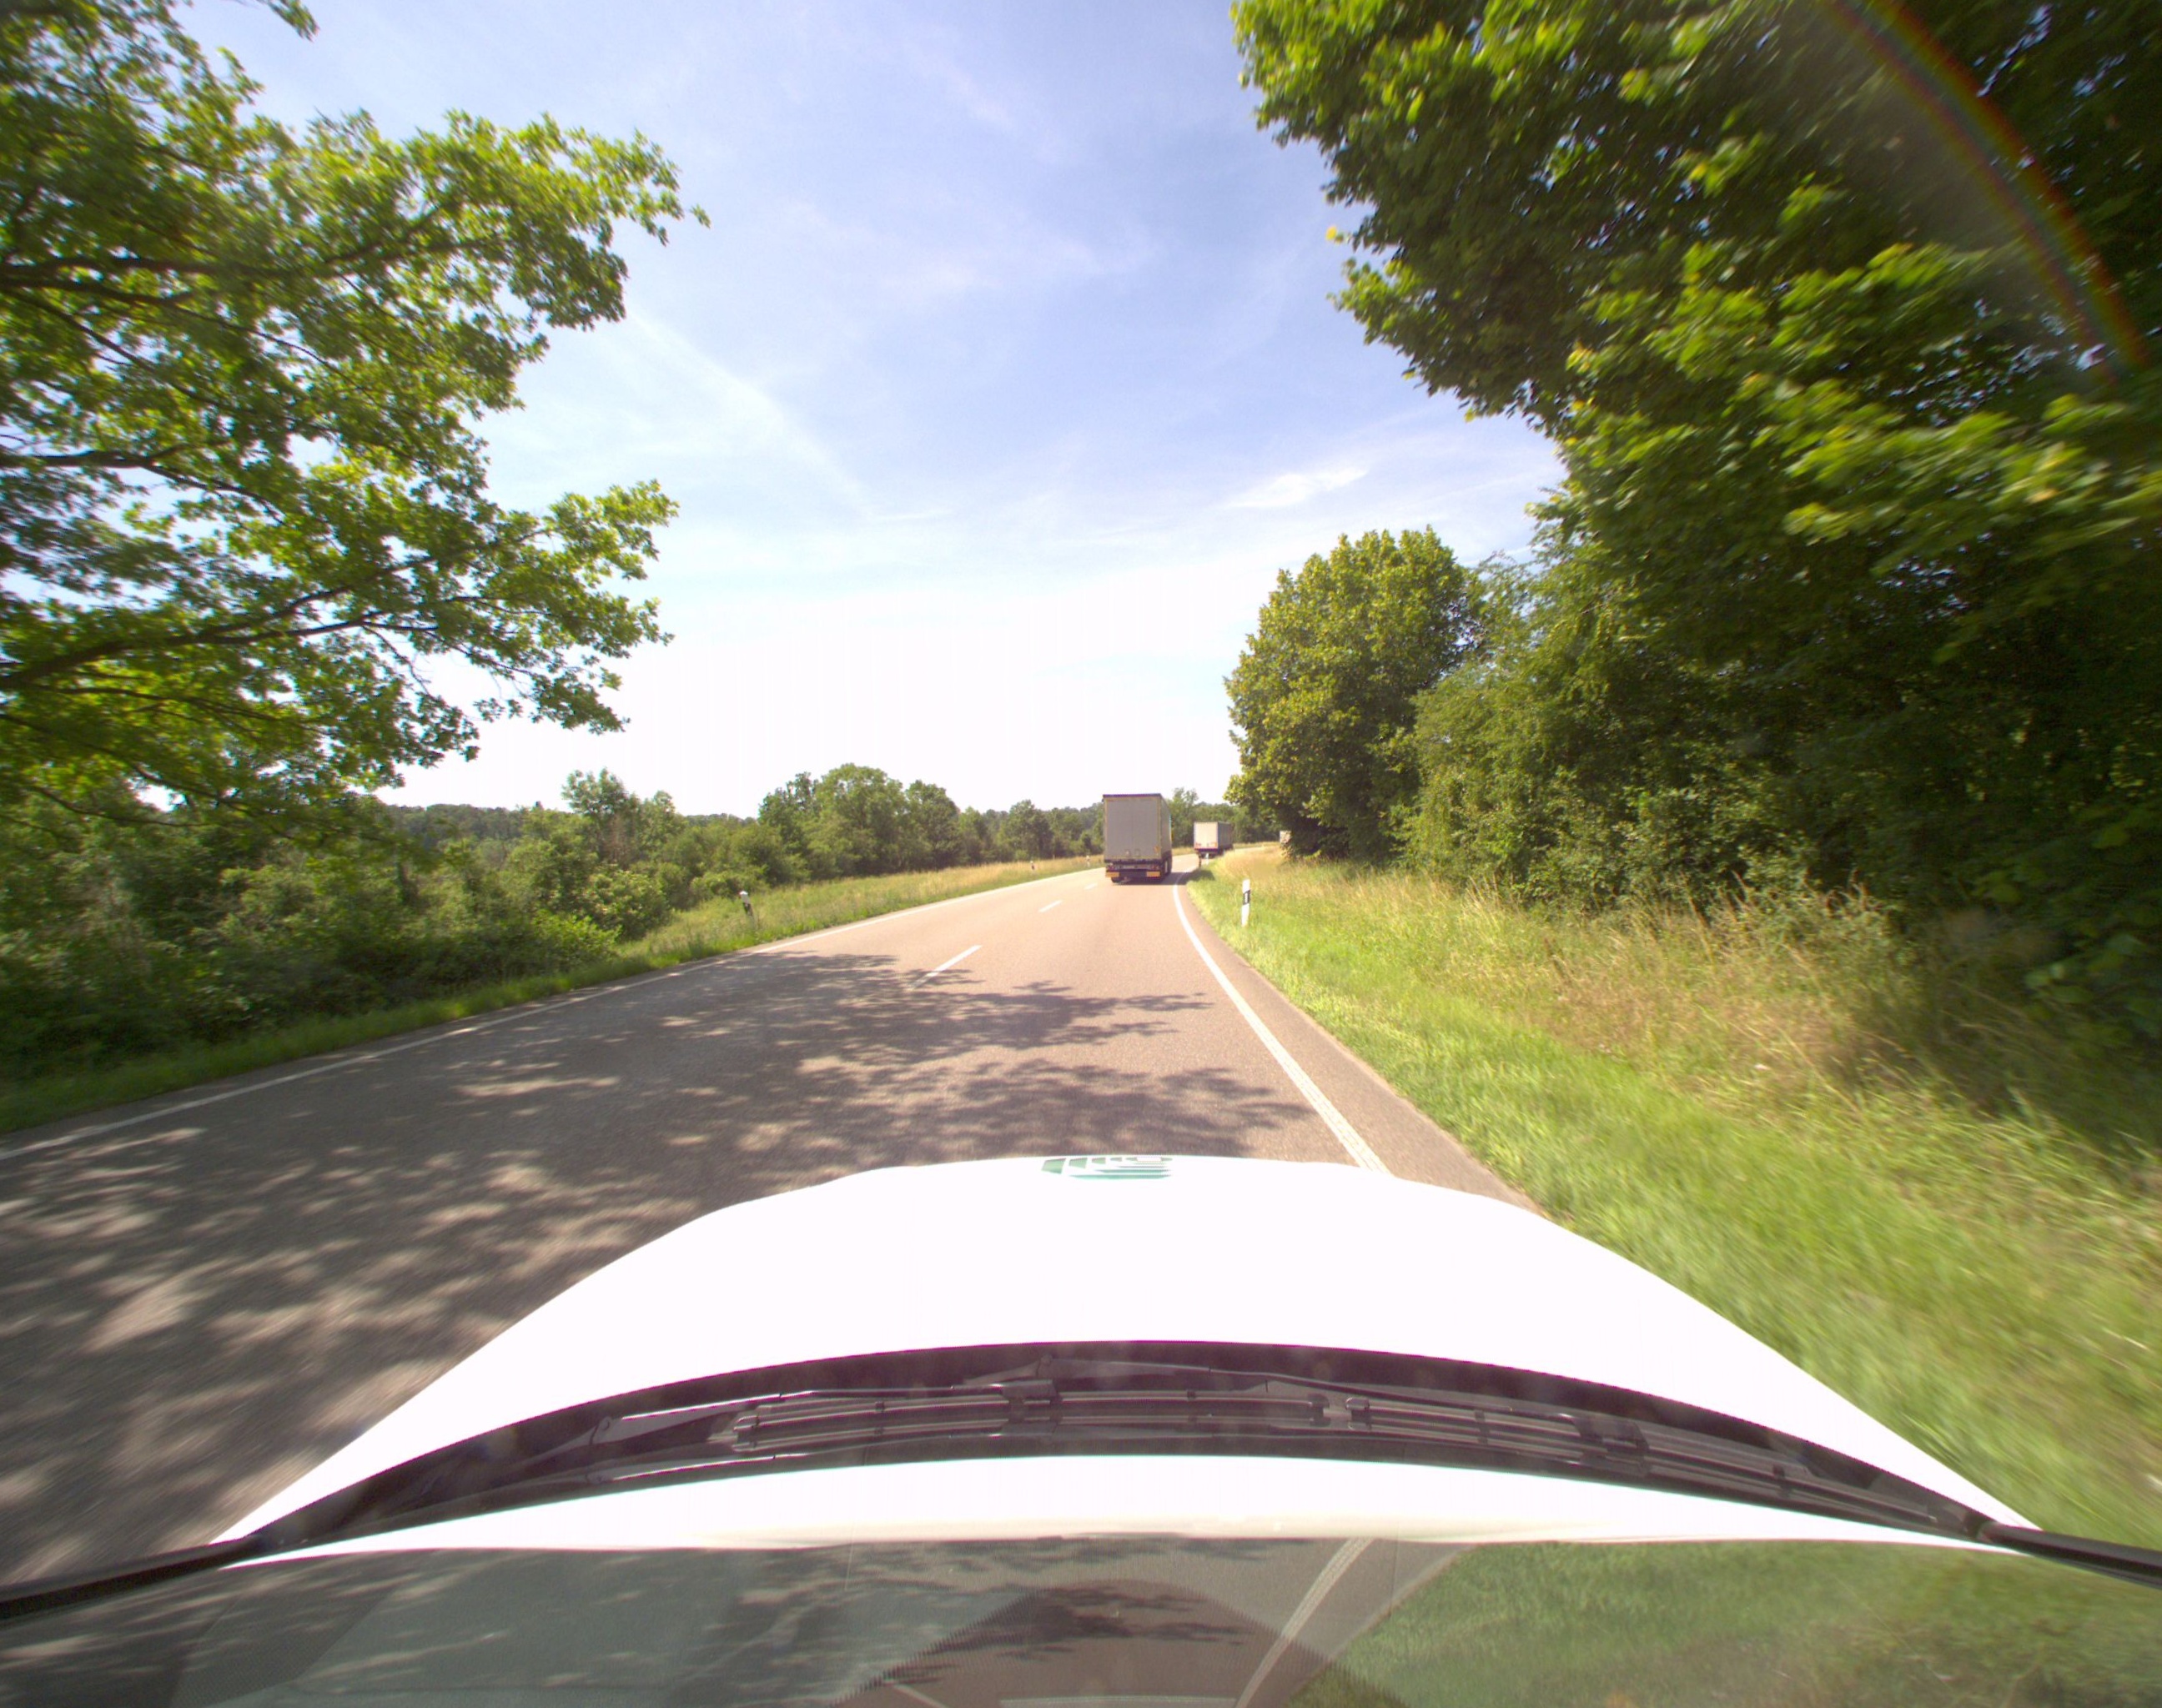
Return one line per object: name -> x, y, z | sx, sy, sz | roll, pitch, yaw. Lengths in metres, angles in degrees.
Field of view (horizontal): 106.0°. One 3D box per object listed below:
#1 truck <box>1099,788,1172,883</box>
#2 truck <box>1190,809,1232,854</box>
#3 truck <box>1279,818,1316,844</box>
truck -> 3.180, -0.837, 42.769 | 2.786, 4.068, 15.358 | 0, 0, 8
truck -> 15.249, -2.441, 94.108 | 3.082, 4.705, 16.654 | -2, 0, 15
truck -> 41.292, -4.324, 154.997 | 3.076, 4.705, 16.689 | -2, 0, 27
